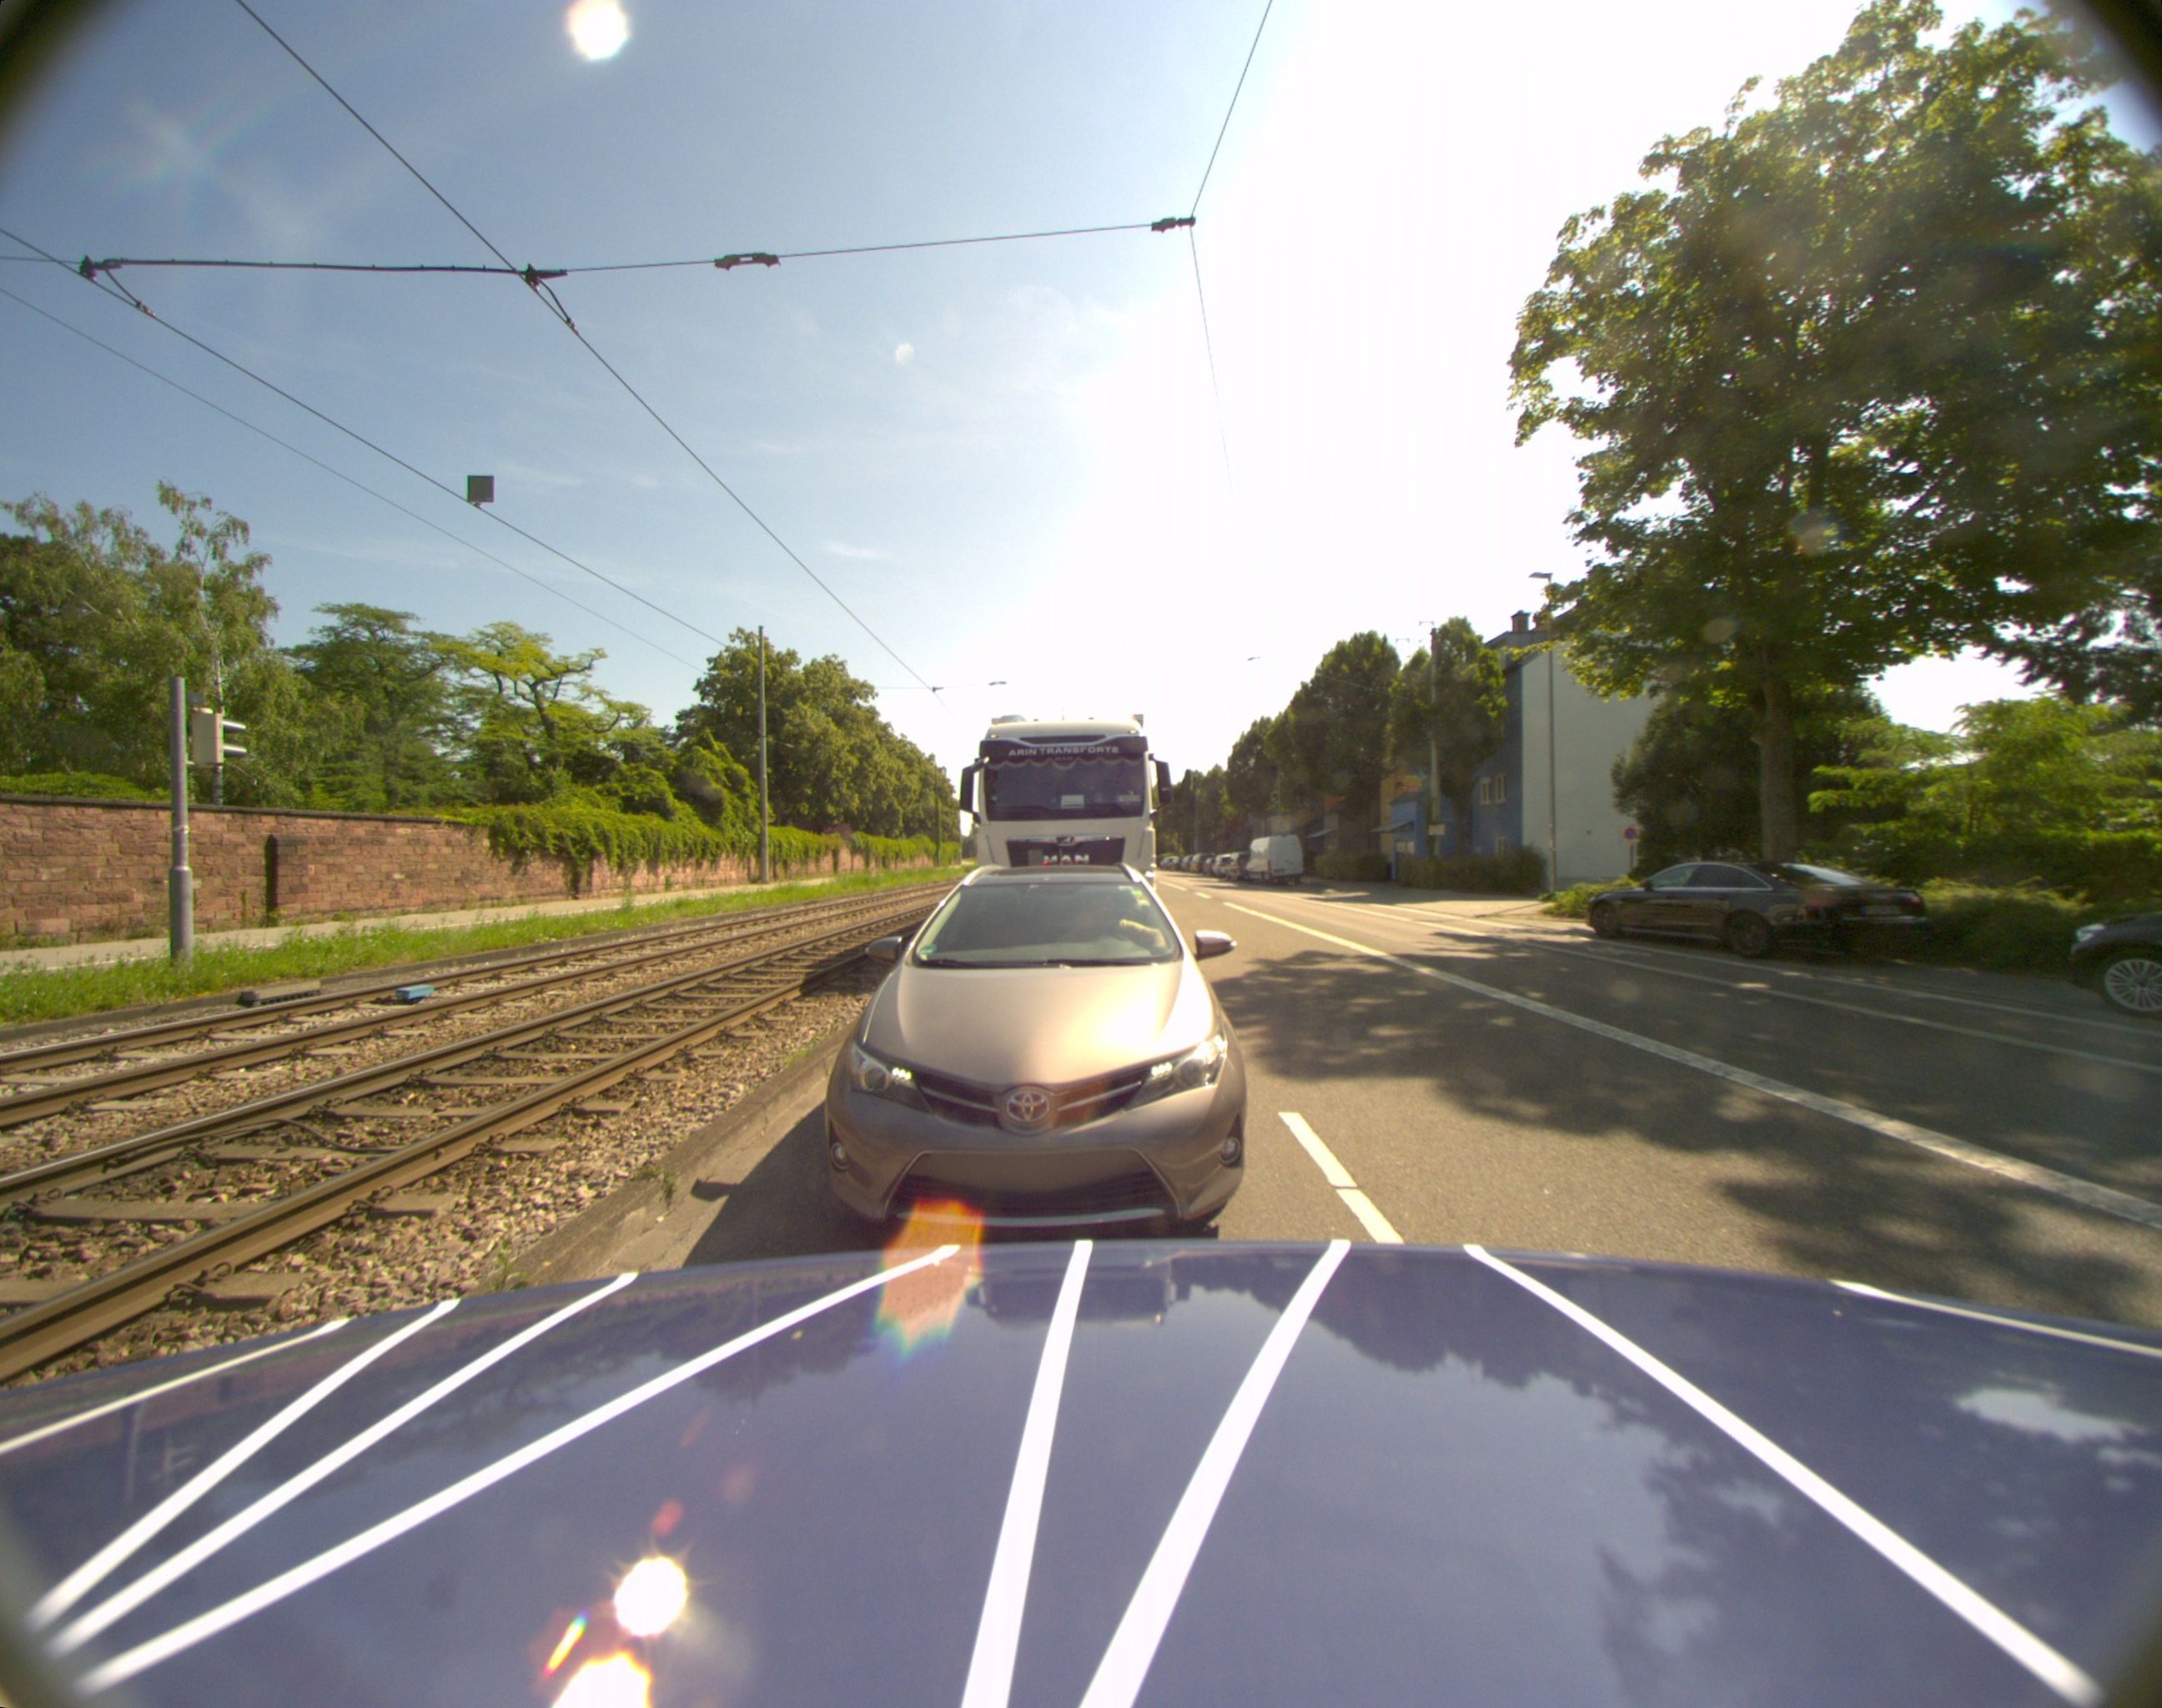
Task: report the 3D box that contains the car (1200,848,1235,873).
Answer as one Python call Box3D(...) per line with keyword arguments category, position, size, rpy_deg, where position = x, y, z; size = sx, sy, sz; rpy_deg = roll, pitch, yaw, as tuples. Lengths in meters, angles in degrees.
Box3D(category="car", position=(11.225, 0.547, 62.856), size=(1.998, 1.795, 4.256), rpy_deg=(-6, 0, 0))

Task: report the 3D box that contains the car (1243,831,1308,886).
Box3D(category="car", position=(10.911, 0.247, 43.144), size=(1.998, 2.678, 6.214), rpy_deg=(-6, 0, 2))

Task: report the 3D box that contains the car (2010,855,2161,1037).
Box3D(category="car", position=(10.569, 0.824, 5.563), size=(1.868, 1.562, 4.621), rpy_deg=(-2, 0, 0))

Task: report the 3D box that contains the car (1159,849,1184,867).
Box3D(category="car", position=(10.188, 0.477, 85.904), size=(1.998, 1.795, 4.769), rpy_deg=(-6, 0, 0))

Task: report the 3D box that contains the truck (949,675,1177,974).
Box3D(category="truck", position=(-0.132, -0.400, 17.255), size=(2.935, 3.856, 14.912), rpy_deg=(0, 0, 1))

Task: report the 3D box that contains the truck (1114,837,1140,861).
Box3D(category="truck", position=(6.987, -0.682, 116.100), size=(2.704, 3.263, 6.724), rpy_deg=(-6, 0, -5))

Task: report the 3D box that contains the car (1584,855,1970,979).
Box3D(category="car", position=(10.561, 0.823, 12.153), size=(1.868, 1.562, 4.621), rpy_deg=(-1, 0, -2))

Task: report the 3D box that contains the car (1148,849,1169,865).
Box3D(category="car", position=(9.833, 0.424, 96.866), size=(1.998, 1.795, 4.769), rpy_deg=(-6, 0, 0))

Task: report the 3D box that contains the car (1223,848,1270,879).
Box3D(category="car", position=(11.140, 0.631, 51.440), size=(1.998, 1.795, 4.769), rpy_deg=(-6, 0, 0))

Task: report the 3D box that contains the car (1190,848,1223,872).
Box3D(category="car", position=(11.127, 0.504, 67.667), size=(1.998, 1.795, 4.769), rpy_deg=(-6, 0, 0))

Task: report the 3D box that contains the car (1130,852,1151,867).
Box3D(category="car", position=(8.280, 0.790, 105.562), size=(1.999, 1.795, 5.111), rpy_deg=(-6, 0, -4))

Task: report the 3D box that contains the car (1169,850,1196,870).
Box3D(category="car", position=(10.573, 0.628, 79.160), size=(1.998, 1.795, 4.769), rpy_deg=(-6, 0, 0))

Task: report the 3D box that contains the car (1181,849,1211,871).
Box3D(category="car", position=(11.023, 0.553, 73.371), size=(1.998, 1.795, 4.769), rpy_deg=(-6, 0, 0))

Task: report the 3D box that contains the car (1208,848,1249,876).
Box3D(category="car", position=(11.082, 0.574, 57.372), size=(1.998, 1.795, 4.769), rpy_deg=(-6, 0, 0))

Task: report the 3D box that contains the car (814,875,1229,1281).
Box3D(category="car", position=(-0.201, 0.911, 4.892), size=(1.573, 1.422, 4.000), rpy_deg=(0, 0, 1))
